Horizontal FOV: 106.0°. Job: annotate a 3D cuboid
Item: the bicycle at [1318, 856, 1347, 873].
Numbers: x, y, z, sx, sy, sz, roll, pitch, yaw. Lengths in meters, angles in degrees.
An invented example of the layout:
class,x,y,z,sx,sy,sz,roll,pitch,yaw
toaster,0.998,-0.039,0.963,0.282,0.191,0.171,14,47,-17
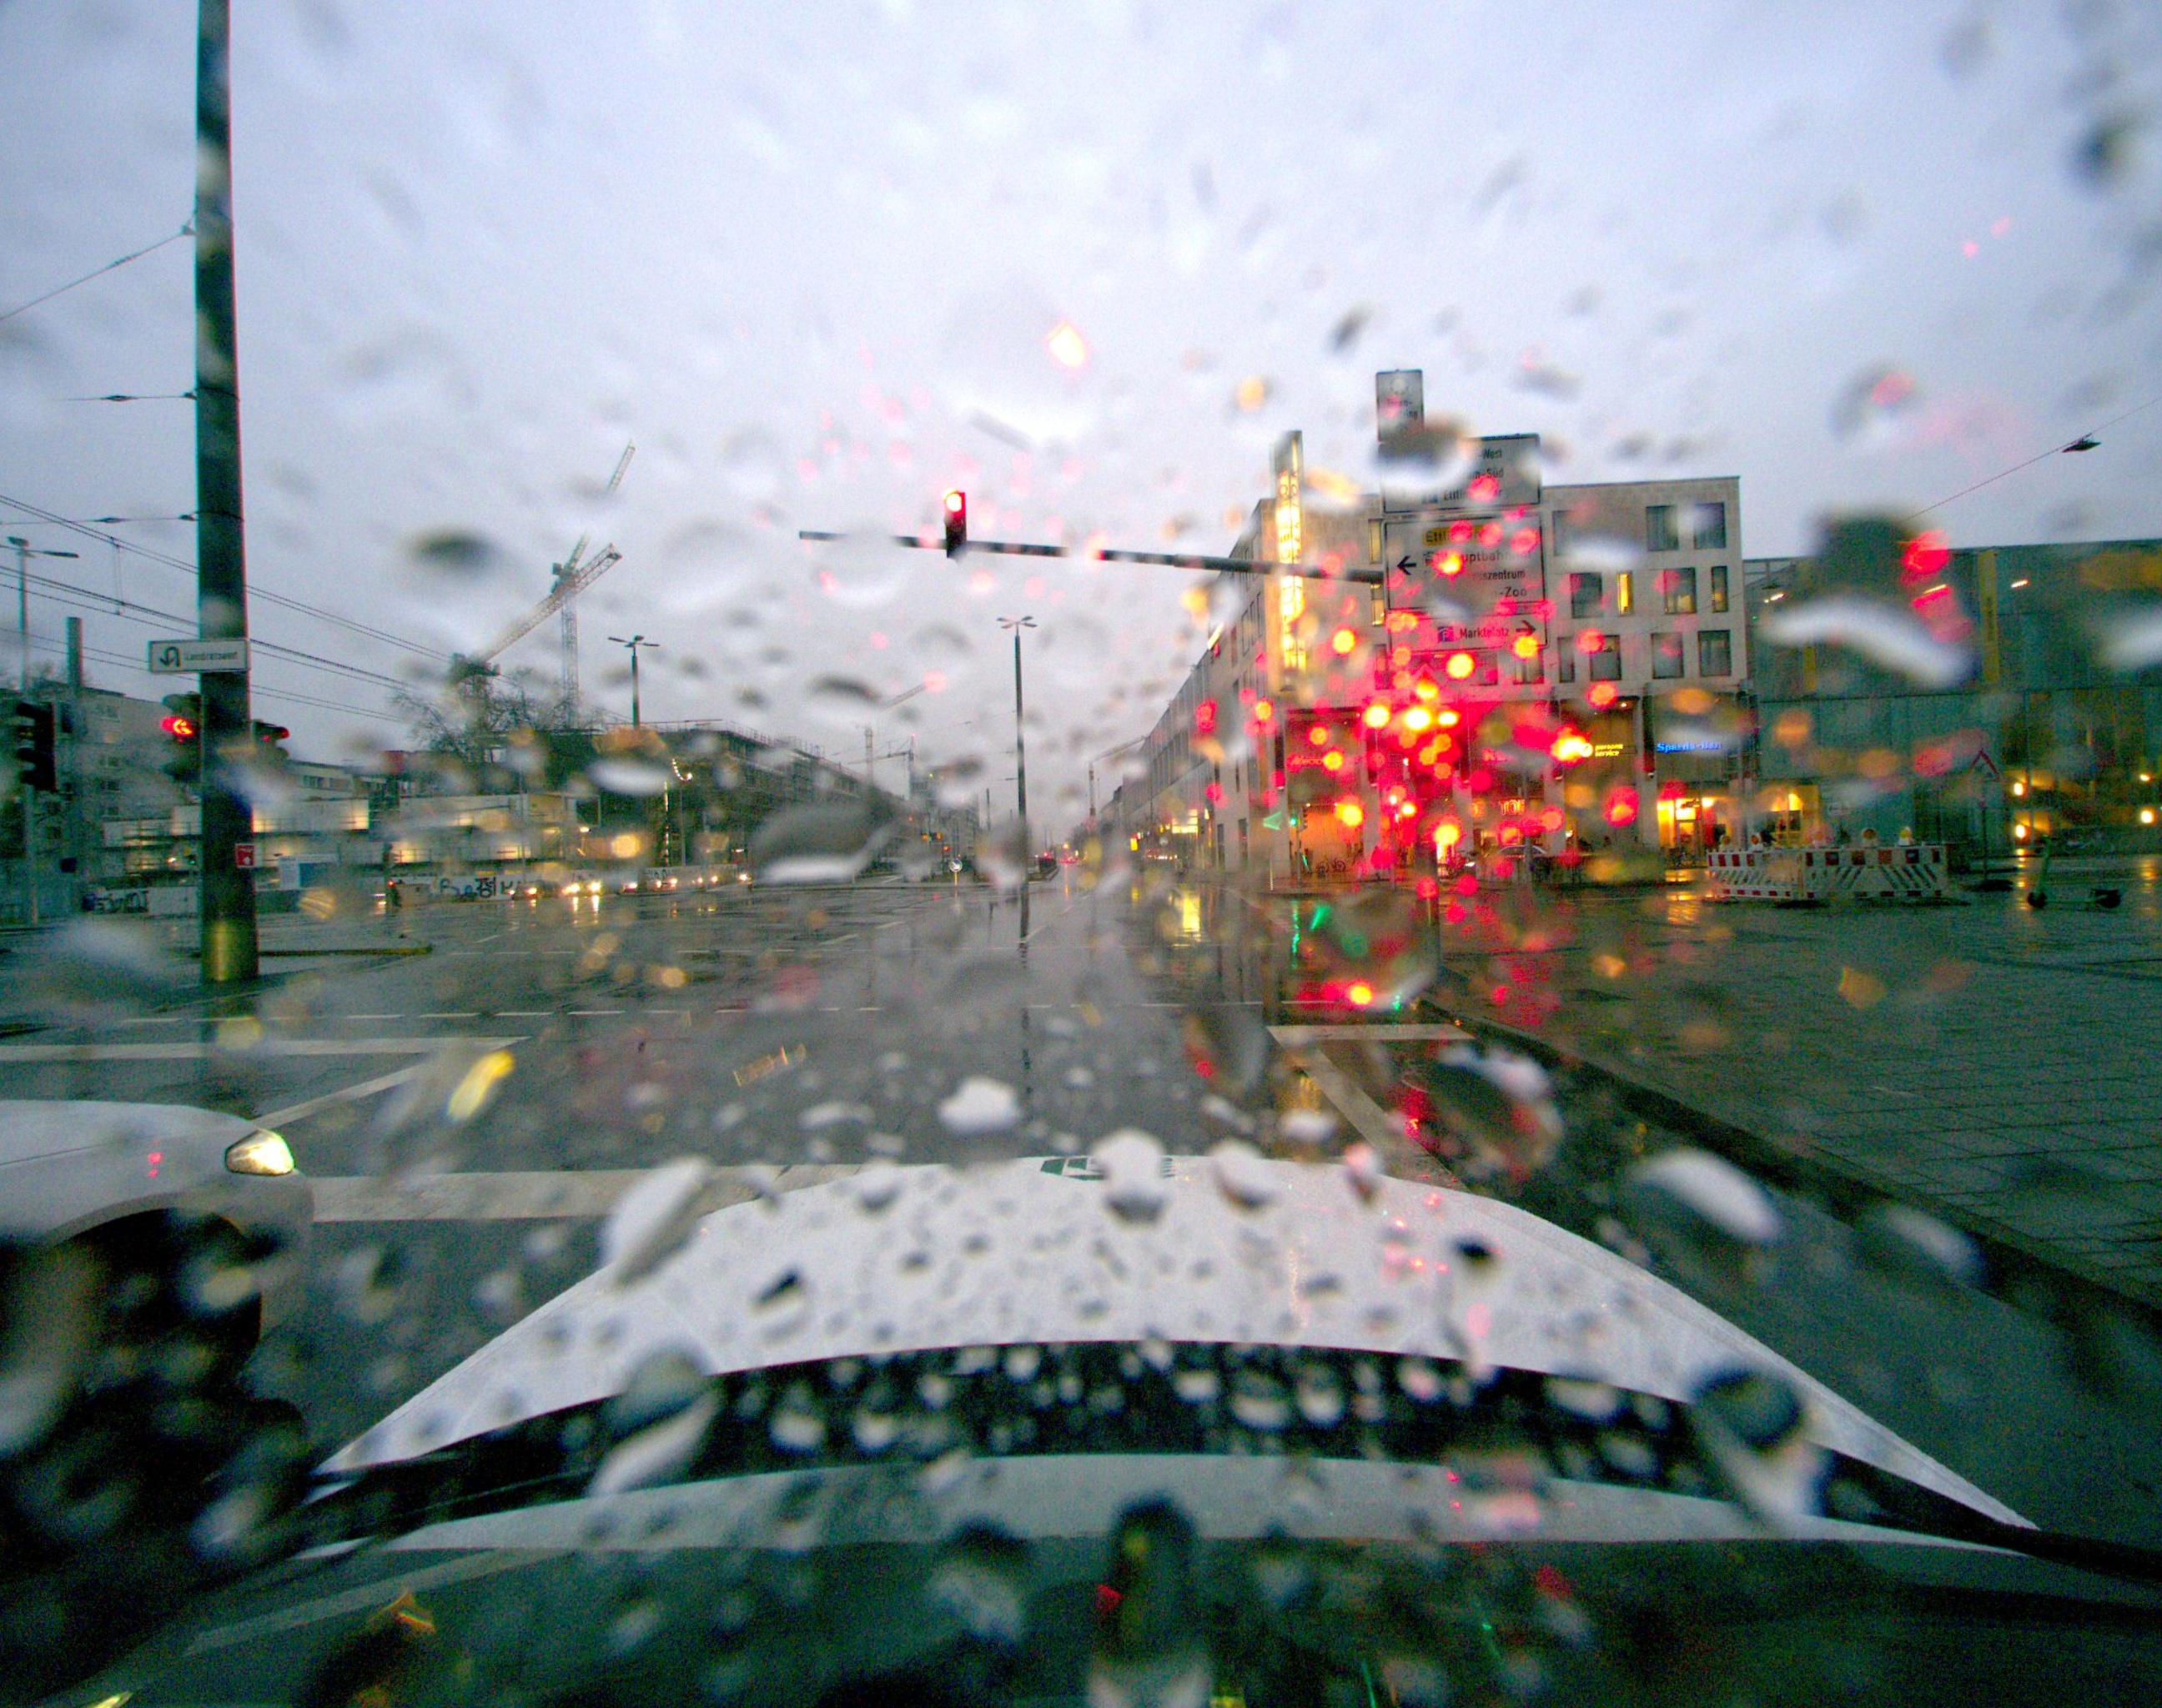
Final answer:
class,x,y,z,sx,sy,sz,roll,pitch,yaw
bicycle,15.642,0.654,50.585,1.642,1.070,0.524,0,-1,-2

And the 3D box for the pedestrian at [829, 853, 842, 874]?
class,x,y,z,sx,sy,sz,roll,pitch,yaw
pedestrian,-23.855,0.940,79.075,0.939,2.014,1.094,0,-1,1

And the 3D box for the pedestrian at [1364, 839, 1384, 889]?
class,x,y,z,sx,sy,sz,roll,pitch,yaw
pedestrian,14.470,0.489,40.231,0.687,2.441,0.758,0,-1,1

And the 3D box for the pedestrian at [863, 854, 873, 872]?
class,x,y,z,sx,sy,sz,roll,pitch,yaw
pedestrian,-24.085,1.048,92.232,0.941,2.014,1.092,0,-1,-6

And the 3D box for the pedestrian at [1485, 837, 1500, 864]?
class,x,y,z,sx,sy,sz,roll,pitch,yaw
pedestrian,26.885,-0.242,53.193,0.728,1.718,0.743,-3,-1,29

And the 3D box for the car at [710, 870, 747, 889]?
class,x,y,z,sx,sy,sz,roll,pitch,yaw
car,-35.184,2.571,81.388,1.988,1.790,3.998,0,-1,-1

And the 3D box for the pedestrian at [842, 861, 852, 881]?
class,x,y,z,sx,sy,sz,roll,pitch,yaw
pedestrian,-22.706,1.645,78.982,0.762,1.898,0.763,0,-2,1

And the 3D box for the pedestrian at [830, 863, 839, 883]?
class,x,y,z,sx,sy,sz,roll,pitch,yaw
pedestrian,-23.494,1.780,77.695,0.696,1.881,0.553,0,-1,1

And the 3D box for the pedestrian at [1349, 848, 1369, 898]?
class,x,y,z,sx,sy,sz,roll,pitch,yaw
pedestrian,13.679,0.913,40.051,0.712,2.441,0.758,0,-1,1

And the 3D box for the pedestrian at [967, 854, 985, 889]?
class,x,y,z,sx,sy,sz,roll,pitch,yaw
pedestrian,-6.136,1.028,47.658,0.776,2.014,0.732,-1,-1,44

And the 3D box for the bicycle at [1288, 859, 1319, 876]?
class,x,y,z,sx,sy,sz,roll,pitch,yaw
bicycle,13.791,0.846,50.464,1.763,1.070,0.524,0,-1,-4

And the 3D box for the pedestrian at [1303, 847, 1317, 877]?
class,x,y,z,sx,sy,sz,roll,pitch,yaw
pedestrian,13.671,0.477,48.665,0.634,1.709,0.574,-2,-1,1

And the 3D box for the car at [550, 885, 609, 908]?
class,x,y,z,sx,sy,sz,roll,pitch,yaw
car,-39.006,3.289,63.435,1.986,1.530,4.001,-2,0,2

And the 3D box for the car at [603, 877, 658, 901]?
class,x,y,z,sx,sy,sz,roll,pitch,yaw
car,-34.280,2.634,62.067,2.074,1.530,4.603,-2,0,-8

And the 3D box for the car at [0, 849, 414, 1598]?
class,x,y,z,sx,sy,sz,roll,pitch,yaw
car,-3.202,0.765,0.323,2.010,1.487,4.561,-2,0,1

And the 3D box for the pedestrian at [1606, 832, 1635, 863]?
class,x,y,z,sx,sy,sz,roll,pitch,yaw
pedestrian,29.019,-0.339,43.834,1.026,1.684,0.824,0,-1,1

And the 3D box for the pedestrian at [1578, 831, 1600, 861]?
class,x,y,z,sx,sy,sz,roll,pitch,yaw
pedestrian,29.369,-0.433,47.087,0.890,1.684,0.528,-2,-1,1

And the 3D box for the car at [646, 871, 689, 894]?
class,x,y,z,sx,sy,sz,roll,pitch,yaw
car,-34.730,2.393,68.553,1.862,1.828,3.993,0,-1,-5

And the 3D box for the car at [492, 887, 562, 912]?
class,x,y,z,sx,sy,sz,roll,pitch,yaw
car,-38.562,3.142,56.816,1.986,1.530,4.001,-2,0,2

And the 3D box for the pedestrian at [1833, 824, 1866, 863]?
class,x,y,z,sx,sy,sz,roll,pitch,yaw
pedestrian,34.297,-0.465,36.336,0.737,1.684,0.783,0,-1,8

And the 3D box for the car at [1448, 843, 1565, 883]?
class,x,y,z,sx,sy,sz,roll,pitch,yaw
car,17.970,0.367,34.545,3.970,1.618,2.001,0,-1,3

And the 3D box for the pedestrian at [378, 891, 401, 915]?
class,x,y,z,sx,sy,sz,roll,pitch,yaw
pedestrian,-40.710,2.881,47.921,0.723,1.388,0.727,-1,-1,10

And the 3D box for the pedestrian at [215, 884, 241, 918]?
class,x,y,z,sx,sy,sz,roll,pitch,yaw
pedestrian,-52.149,2.853,49.795,0.781,2.014,0.748,0,-1,6

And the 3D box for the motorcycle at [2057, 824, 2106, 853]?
class,x,y,z,sx,sy,sz,roll,pitch,yaw
motorcycle,47.814,-0.750,38.934,1.482,1.352,0.595,0,0,5

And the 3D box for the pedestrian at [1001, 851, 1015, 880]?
class,x,y,z,sx,sy,sz,roll,pitch,yaw
pedestrian,-4.340,0.685,48.201,0.605,1.686,0.581,-1,-1,44

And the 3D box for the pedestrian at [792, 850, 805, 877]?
class,x,y,z,sx,sy,sz,roll,pitch,yaw
pedestrian,-24.090,0.800,69.504,0.762,2.323,0.763,0,-2,1

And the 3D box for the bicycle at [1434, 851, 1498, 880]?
class,x,y,z,sx,sy,sz,roll,pitch,yaw
bicycle,19.250,0.578,40.778,2.705,1.359,0.957,-2,-1,-2

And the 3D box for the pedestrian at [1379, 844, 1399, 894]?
class,x,y,z,sx,sy,sz,roll,pitch,yaw
pedestrian,15.302,0.758,40.453,0.691,2.448,0.792,0,-1,1

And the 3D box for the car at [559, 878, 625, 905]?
class,x,y,z,sx,sy,sz,roll,pitch,yaw
car,-33.697,2.576,56.241,1.986,1.657,4.001,-2,0,2

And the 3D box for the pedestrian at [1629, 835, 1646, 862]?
class,x,y,z,sx,sy,sz,roll,pitch,yaw
pedestrian,30.993,-0.304,45.376,0.583,1.494,0.520,-1,-1,4

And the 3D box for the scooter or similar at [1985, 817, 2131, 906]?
class,x,y,z,sx,sy,sz,roll,pitch,yaw
scooter or similar,15.686,0.116,13.137,0.590,1.352,1.495,0,0,2

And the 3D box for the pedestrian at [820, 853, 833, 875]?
class,x,y,z,sx,sy,sz,roll,pitch,yaw
pedestrian,-23.935,0.921,76.612,0.939,2.014,1.093,0,-1,-1

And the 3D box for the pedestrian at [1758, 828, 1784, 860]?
class,x,y,z,sx,sy,sz,roll,pitch,yaw
pedestrian,36.689,-0.502,43.302,0.737,1.684,0.783,0,-1,8

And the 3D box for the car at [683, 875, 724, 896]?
class,x,y,z,sx,sy,sz,roll,pitch,yaw
car,-35.114,2.936,75.829,1.988,1.790,3.998,0,-1,-1

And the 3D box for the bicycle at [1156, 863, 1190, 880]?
class,x,y,z,sx,sy,sz,roll,pitch,yaw
bicycle,6.941,1.326,61.529,2.434,1.154,0.674,-2,-1,0

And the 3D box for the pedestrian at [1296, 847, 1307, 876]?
class,x,y,z,sx,sy,sz,roll,pitch,yaw
pedestrian,13.535,0.479,49.958,0.596,1.745,0.526,-1,-1,10

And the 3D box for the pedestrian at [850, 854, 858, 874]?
class,x,y,z,sx,sy,sz,roll,pitch,yaw
pedestrian,-22.745,1.008,81.533,0.569,1.968,0.664,1,-1,-4

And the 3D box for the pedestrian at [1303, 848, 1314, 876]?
class,x,y,z,sx,sy,sz,roll,pitch,yaw
pedestrian,13.586,0.464,48.604,0.480,1.663,0.460,-3,-1,32

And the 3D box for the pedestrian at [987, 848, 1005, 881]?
class,x,y,z,sx,sy,sz,roll,pitch,yaw
pedestrian,-4.878,0.594,46.768,0.826,1.831,0.778,0,-1,-29

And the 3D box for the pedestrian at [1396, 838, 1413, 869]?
class,x,y,z,sx,sy,sz,roll,pitch,yaw
pedestrian,21.252,-0.025,53.516,0.841,2.013,0.700,-2,0,10

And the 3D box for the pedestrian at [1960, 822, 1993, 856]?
class,x,y,z,sx,sy,sz,roll,pitch,yaw
pedestrian,43.992,-0.729,40.002,0.737,1.684,0.783,0,-1,8
